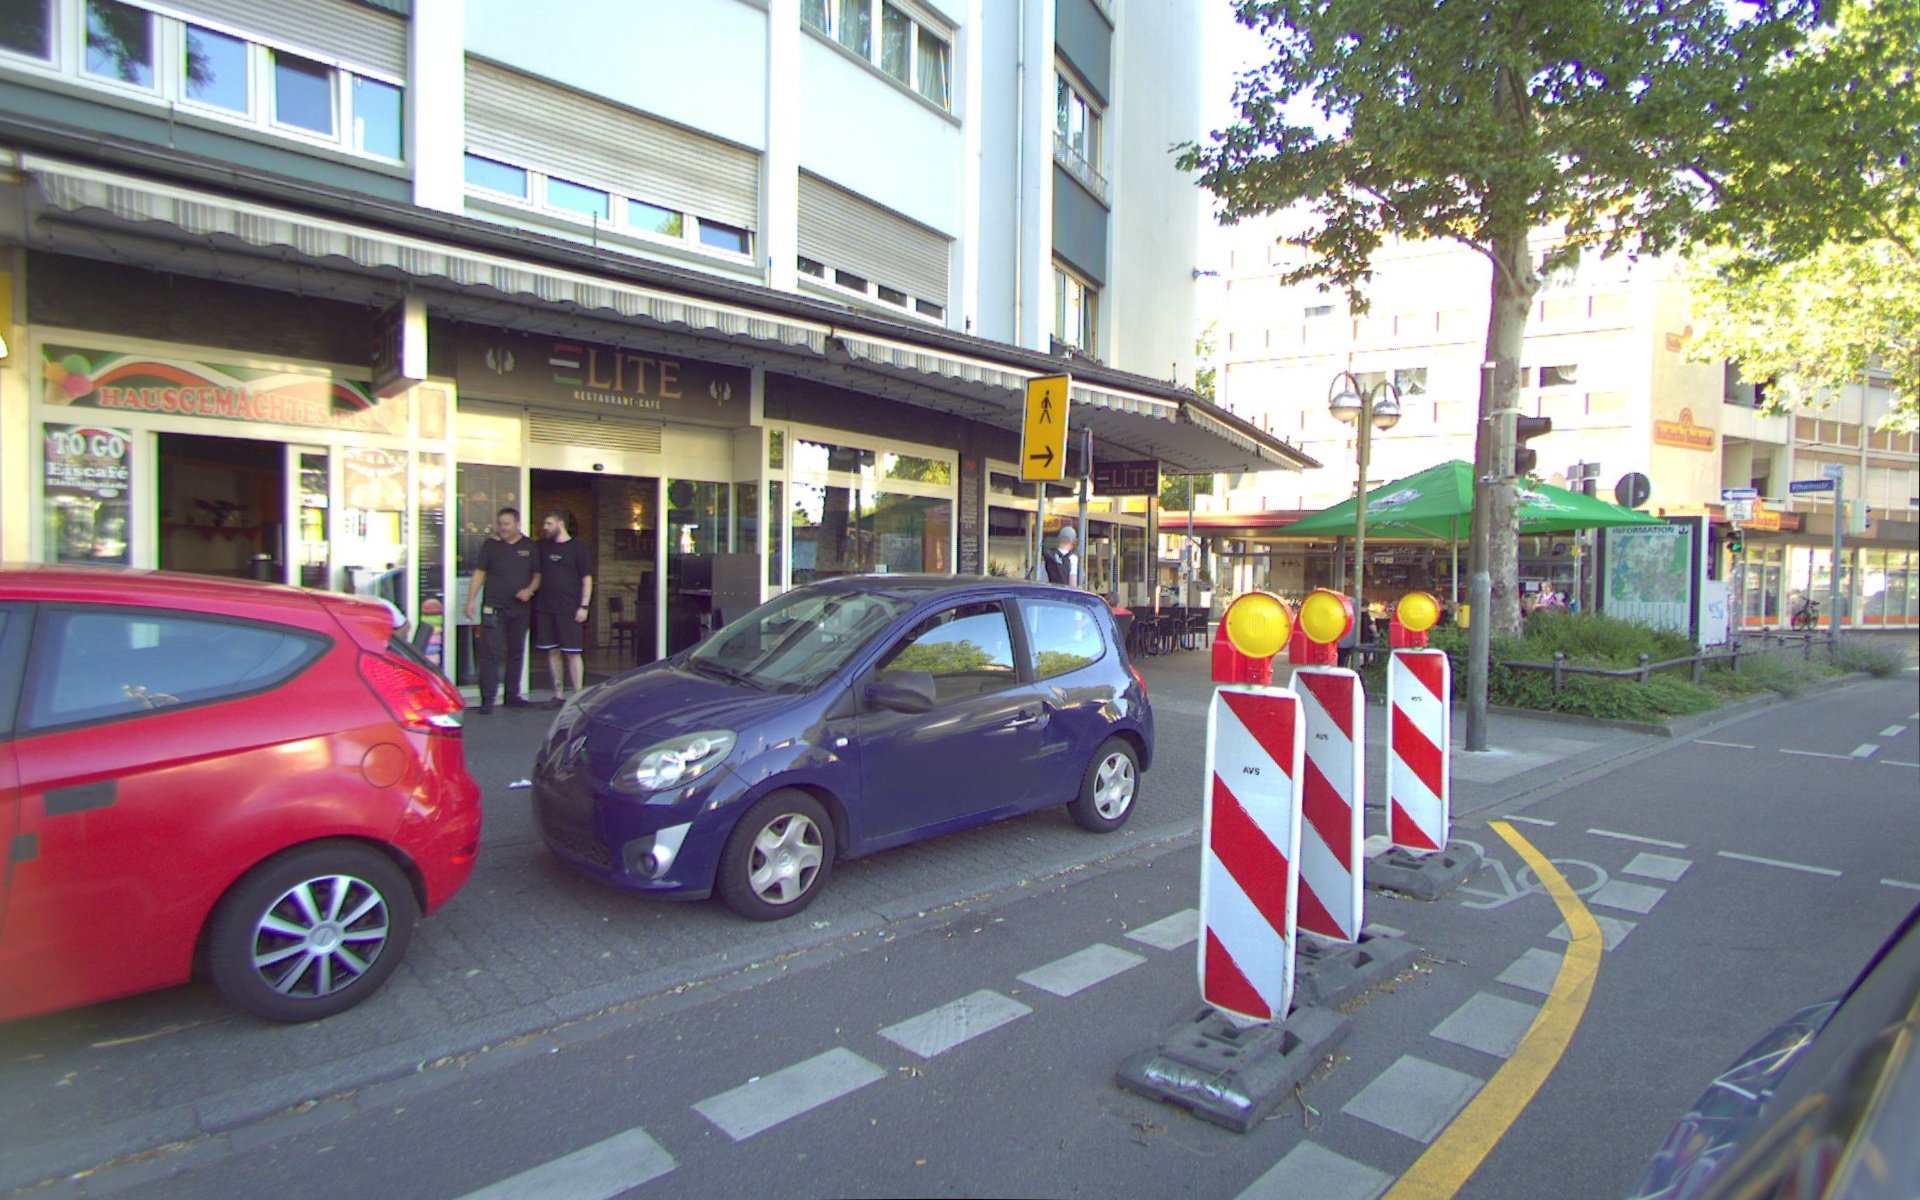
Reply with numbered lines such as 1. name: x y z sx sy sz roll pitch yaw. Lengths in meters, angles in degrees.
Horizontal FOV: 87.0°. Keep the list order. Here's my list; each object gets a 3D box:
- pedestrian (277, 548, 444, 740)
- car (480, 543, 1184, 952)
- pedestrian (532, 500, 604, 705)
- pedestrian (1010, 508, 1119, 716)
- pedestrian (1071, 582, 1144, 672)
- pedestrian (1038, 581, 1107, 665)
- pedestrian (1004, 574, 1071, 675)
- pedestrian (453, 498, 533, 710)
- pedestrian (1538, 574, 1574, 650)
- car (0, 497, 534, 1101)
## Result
1. pedestrian: -4.657 0.293 7.846 0.937 1.352 1.069 0 2 -42
2. car: -0.534 0.513 5.701 3.551 1.485 1.769 -1 5 -44
3. pedestrian: -3.523 0.018 9.115 0.545 1.803 0.397 1 3 -11
4. pedestrian: 1.054 0.102 10.206 0.874 1.983 0.648 0 1 -41
5. pedestrian: 2.068 0.361 14.261 0.685 1.207 0.881 0 1 -18
6. pedestrian: 1.684 0.331 15.121 0.776 1.207 0.648 0 1 -34
7. pedestrian: 1.040 0.310 13.751 0.685 1.323 0.793 1 1 -13
8. pedestrian: -4.111 0.017 8.916 0.547 1.800 0.395 -1 4 -43
9. pedestrian: 13.158 0.253 22.327 0.624 1.657 0.525 2 1 34
10. car: -3.519 0.482 2.999 3.761 1.614 1.784 -1 5 -45
